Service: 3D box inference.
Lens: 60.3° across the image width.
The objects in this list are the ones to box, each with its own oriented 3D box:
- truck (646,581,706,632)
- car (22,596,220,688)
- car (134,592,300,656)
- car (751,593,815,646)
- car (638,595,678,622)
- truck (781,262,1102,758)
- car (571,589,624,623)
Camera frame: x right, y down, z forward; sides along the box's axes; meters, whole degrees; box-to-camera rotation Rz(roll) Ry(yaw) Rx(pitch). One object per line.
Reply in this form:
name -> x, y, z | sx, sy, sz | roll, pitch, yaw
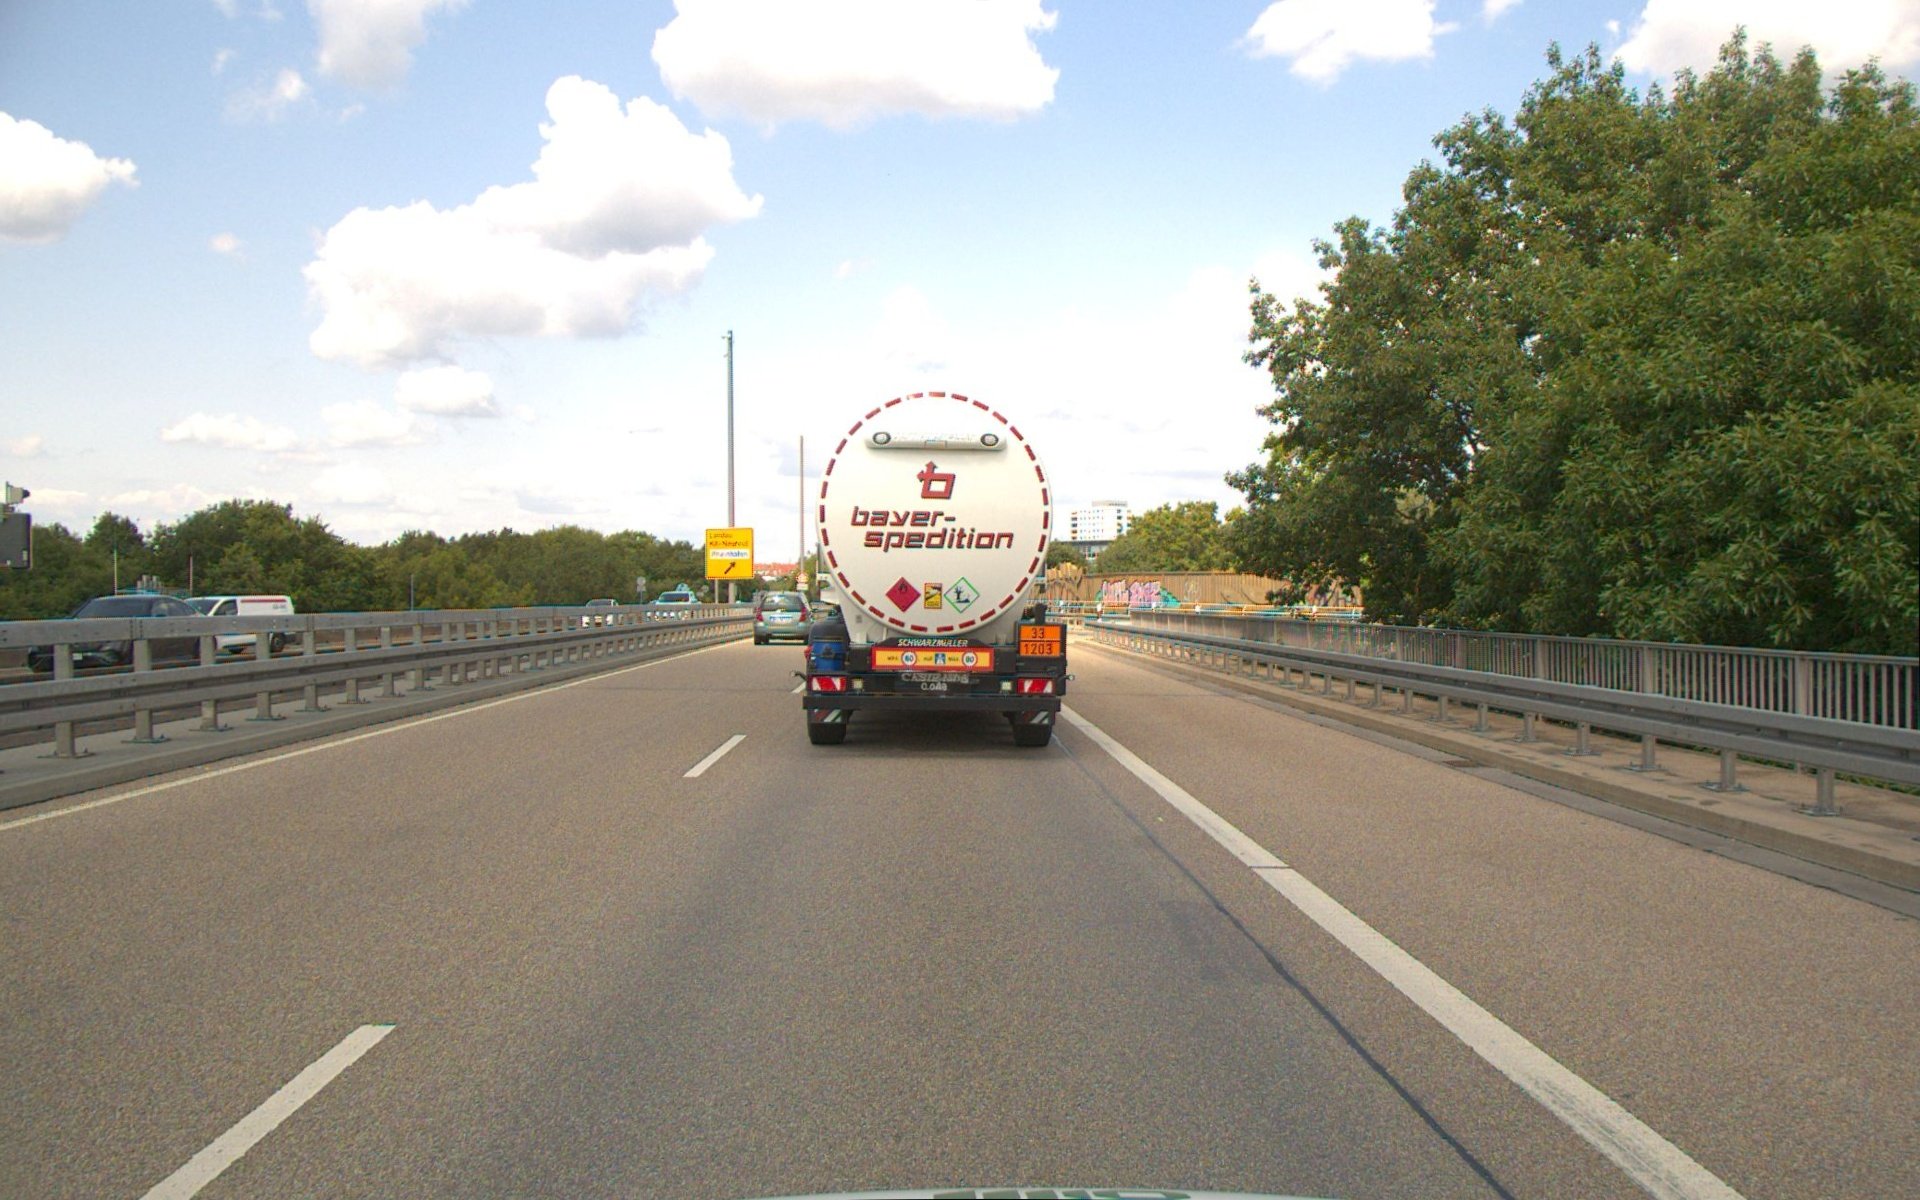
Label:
truck -> -13.117, 0.293, 76.664 | 1.835, 2.225, 5.187 | 1, 0, 0
car -> -16.615, 0.776, 33.032 | 1.853, 1.668, 4.509 | 1, 0, -4
car -> -24.139, 0.759, 53.948 | 1.952, 1.931, 5.170 | 1, 0, 18
car -> -5.439, 0.557, 51.178 | 1.712, 1.558, 3.998 | 0, 0, -2
car -> -18.229, 0.515, 99.874 | 1.864, 1.555, 4.240 | 1, 0, -4
truck -> -0.327, -0.813, 19.040 | 2.837, 4.445, 8.025 | 1, 0, -2
car -> -18.199, 0.290, 83.214 | 1.792, 1.609, 3.953 | 1, 0, 0
